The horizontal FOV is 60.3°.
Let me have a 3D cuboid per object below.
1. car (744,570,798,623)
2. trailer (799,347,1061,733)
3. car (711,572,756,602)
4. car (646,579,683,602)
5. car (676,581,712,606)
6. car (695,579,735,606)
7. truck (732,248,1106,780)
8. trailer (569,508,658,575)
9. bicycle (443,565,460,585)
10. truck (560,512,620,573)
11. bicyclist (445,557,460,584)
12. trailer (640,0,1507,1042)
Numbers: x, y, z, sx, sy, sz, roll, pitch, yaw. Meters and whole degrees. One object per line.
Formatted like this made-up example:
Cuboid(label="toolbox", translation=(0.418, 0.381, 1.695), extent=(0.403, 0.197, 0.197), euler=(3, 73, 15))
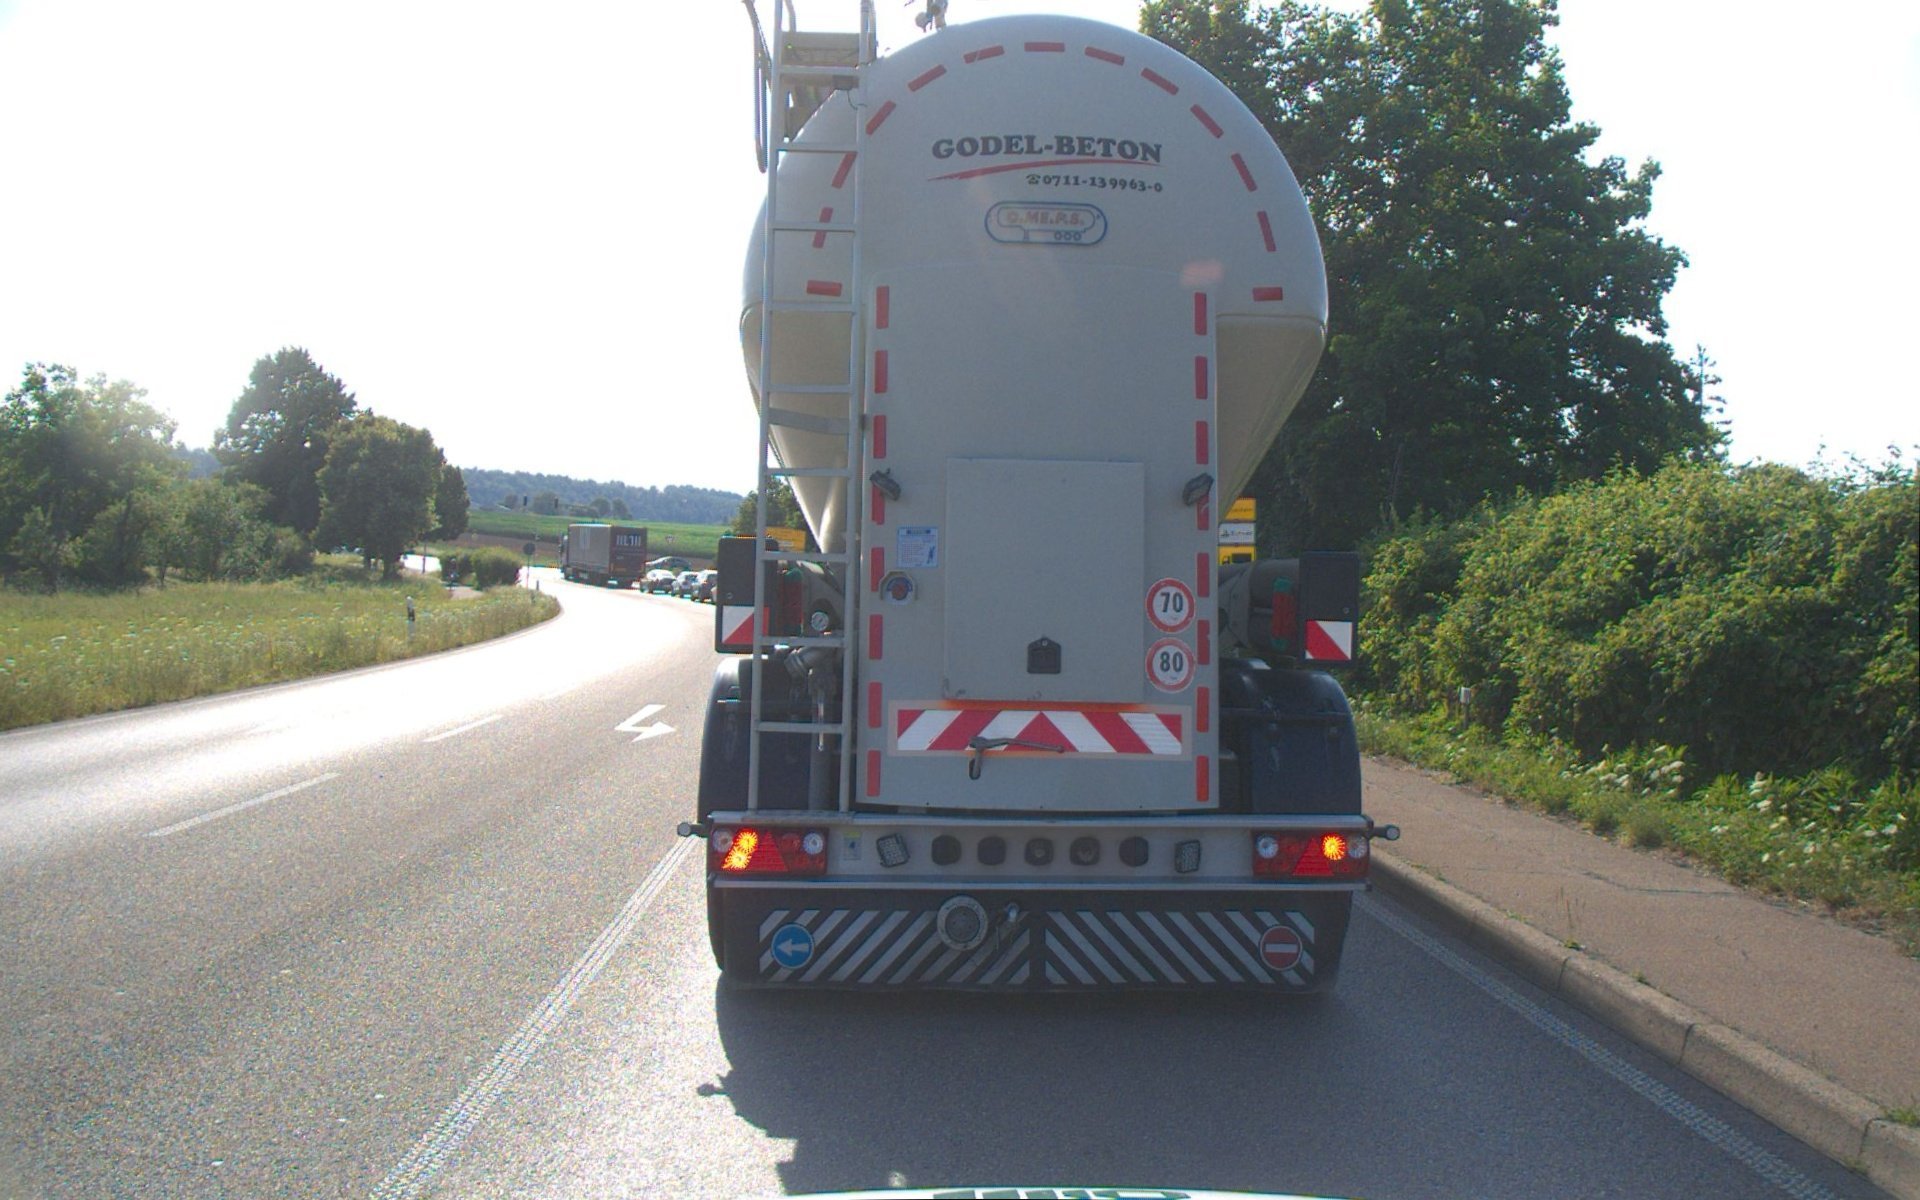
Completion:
Cuboid(label="car", translation=(-7.687, -0.146, 67.042), extent=(1.828, 2.049, 3.709), euler=(1, 0, -11))
Cuboid(label="trailer", translation=(-0.422, -0.748, 26.369), extent=(2.895, 4.390, 14.173), euler=(2, 0, -1))
Cuboid(label="car", translation=(-11.159, -0.640, 81.336), extent=(1.556, 1.364, 3.408), euler=(2, 0, -18))
Cuboid(label="car", translation=(-18.202, -0.611, 101.867), extent=(1.743, 1.226, 3.408), euler=(-4, 2, -18))
Cuboid(label="car", translation=(-15.387, -0.374, 95.585), extent=(1.556, 1.364, 3.408), euler=(2, 0, -18))
Cuboid(label="car", translation=(-12.980, -0.409, 87.499), extent=(1.556, 1.364, 3.408), euler=(2, 0, -18))
Cuboid(label="truck", translation=(-0.454, -0.657, 14.873), extent=(2.852, 4.076, 4.056), euler=(1, 0, -4))
Cuboid(label="trailer", translation=(-25.146, -4.107, 119.226), extent=(3.331, 4.426, 14.190), euler=(2, 0, -23))
Cuboid(label="bicycle", translation=(-28.270, -1.375, 92.005), extent=(0.623, 1.093, 1.667), euler=(3, 0, -9))
Cuboid(label="truck", translation=(-28.318, -4.337, 126.543), extent=(3.331, 4.426, 5.664), euler=(2, 0, -24))
Cuboid(label="bicyclist", translation=(-28.271, -1.631, 92.092), extent=(0.623, 1.444, 0.689), euler=(3, 0, -9))
Cuboid(label="trailer", translation=(-0.035, -0.625, 10.403), extent=(2.853, 4.076, 9.919), euler=(1, 0, -5))
